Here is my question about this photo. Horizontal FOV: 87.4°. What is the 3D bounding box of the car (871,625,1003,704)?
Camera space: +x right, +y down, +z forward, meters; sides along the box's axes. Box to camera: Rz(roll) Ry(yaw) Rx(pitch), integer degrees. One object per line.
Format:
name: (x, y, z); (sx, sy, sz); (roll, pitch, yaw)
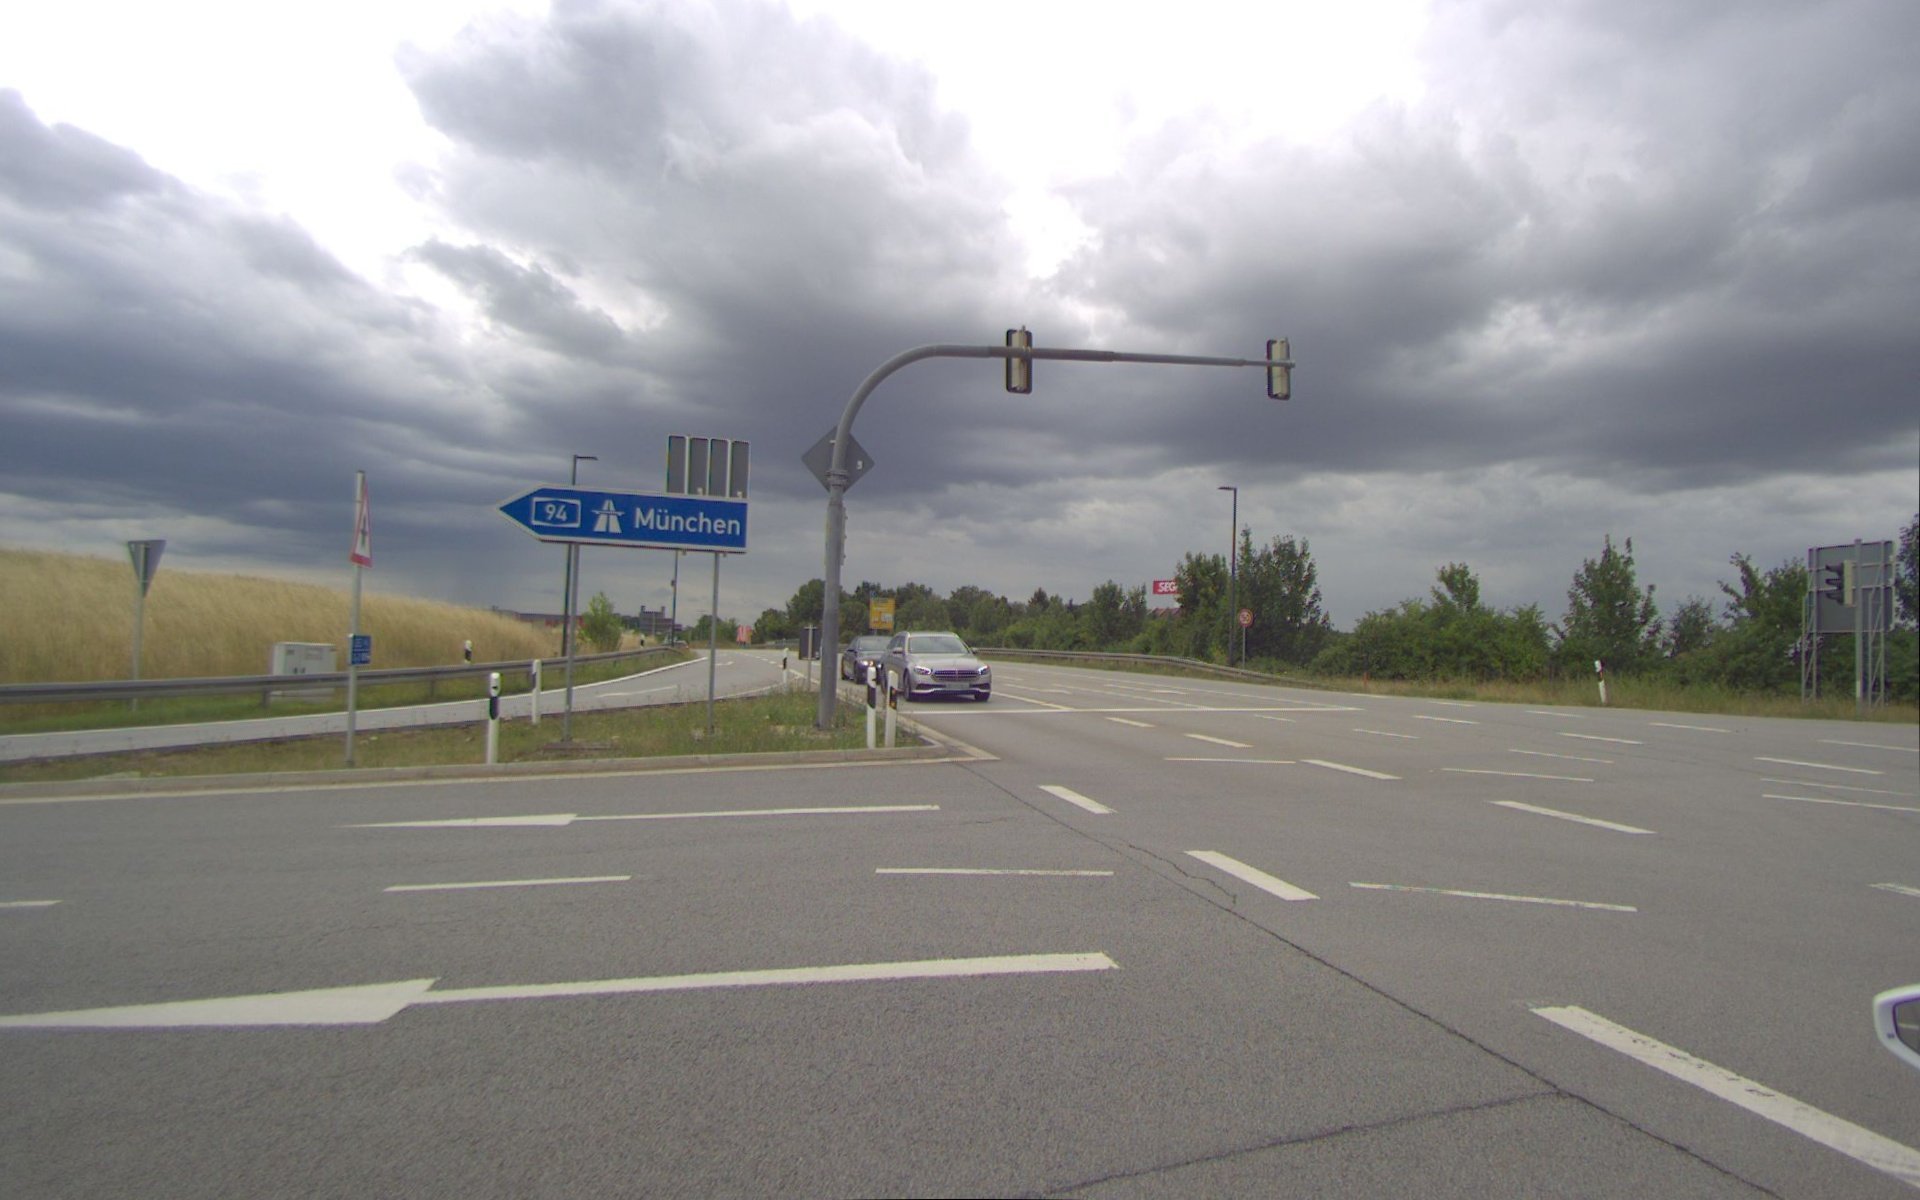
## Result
car: (-0.663, 1.401, 23.227); (1.889, 1.631, 4.933); (0, -2, -16)

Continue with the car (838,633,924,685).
car: (-2.477, 1.764, 30.412); (1.685, 1.429, 4.660); (2, -3, -16)
